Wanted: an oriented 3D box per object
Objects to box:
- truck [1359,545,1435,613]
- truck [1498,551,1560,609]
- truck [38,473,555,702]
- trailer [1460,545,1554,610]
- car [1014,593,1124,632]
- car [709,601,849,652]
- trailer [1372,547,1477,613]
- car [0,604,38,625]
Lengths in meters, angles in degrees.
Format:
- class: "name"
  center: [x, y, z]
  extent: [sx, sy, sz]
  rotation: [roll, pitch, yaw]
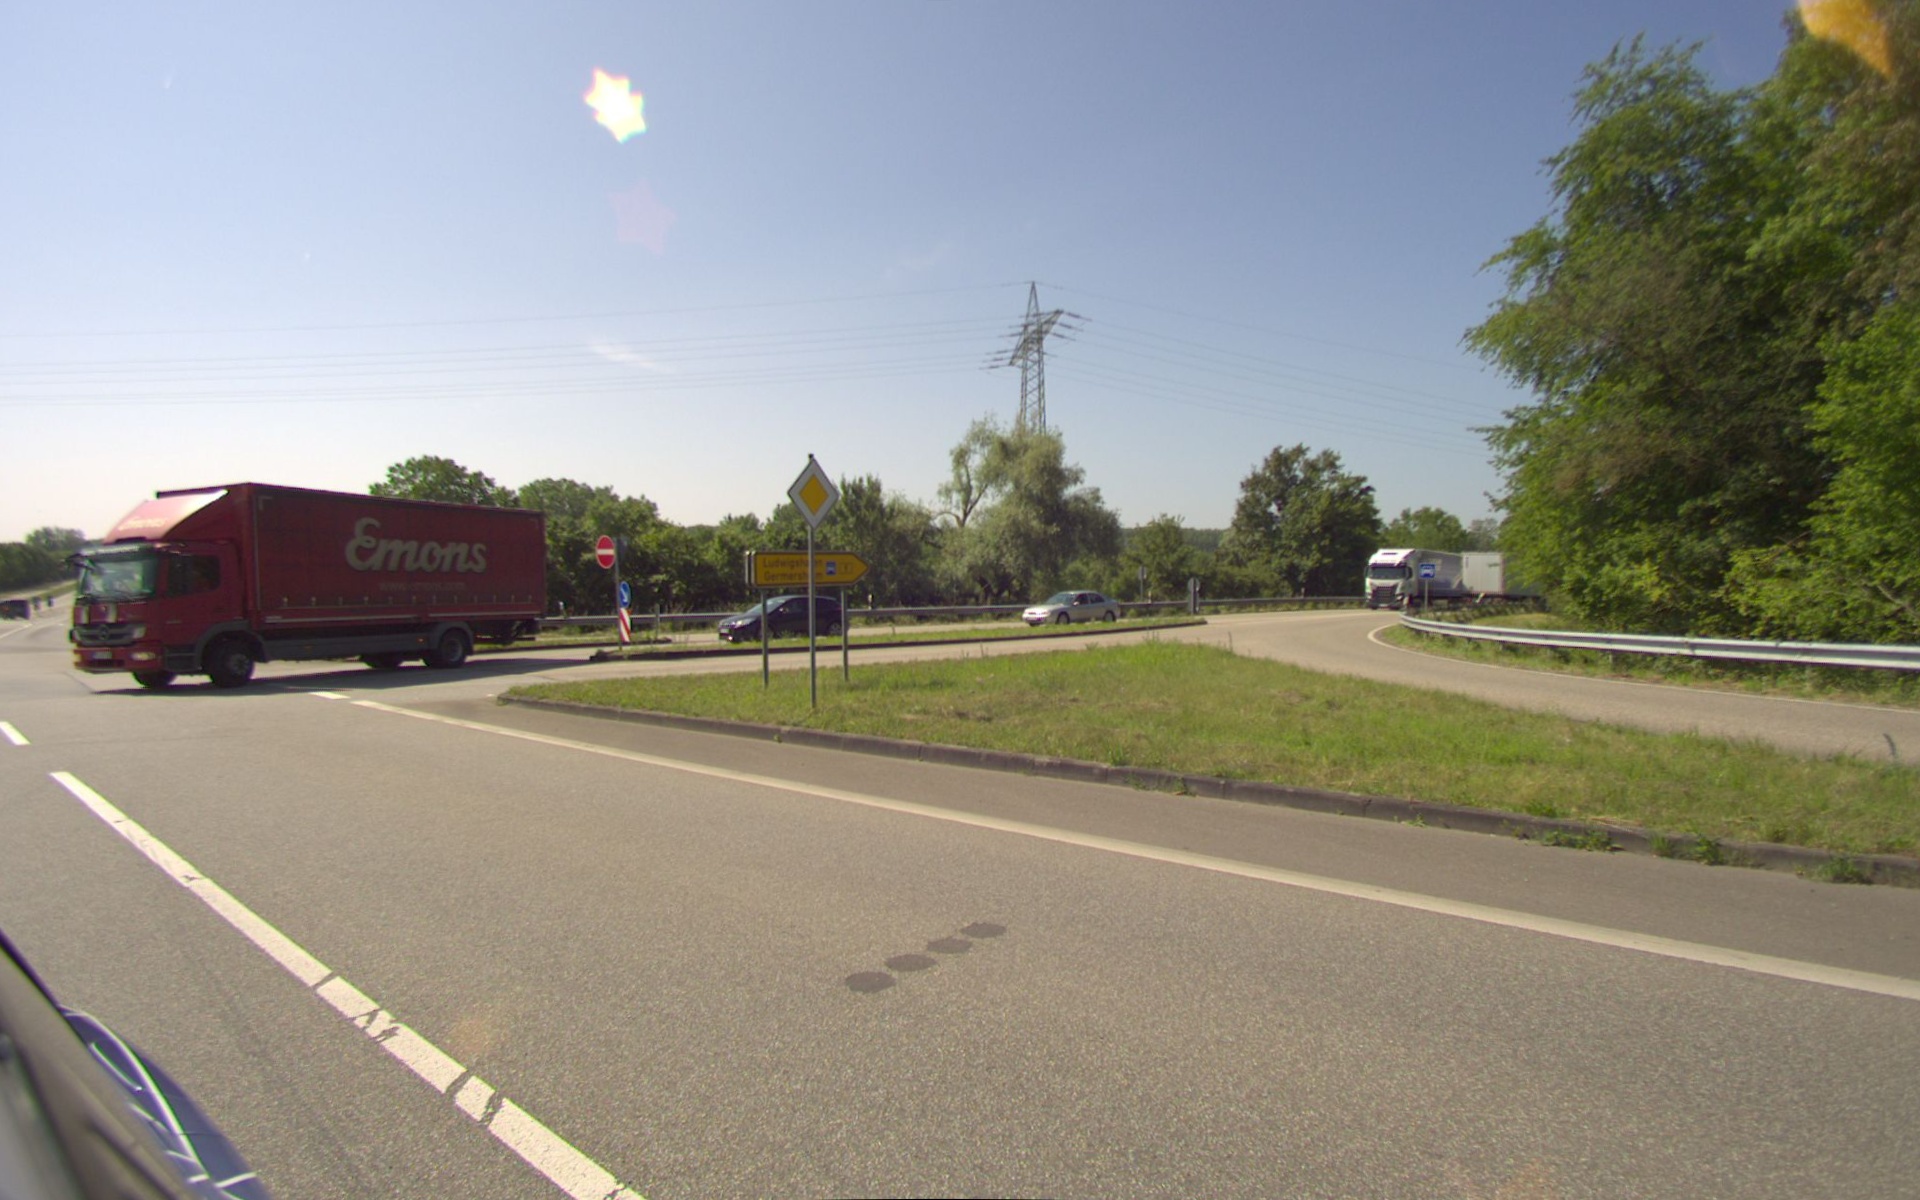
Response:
- class: "truck"
  center: [28.831, -1.358, 66.625]
  extent: [2.940, 4.269, 5.654]
  rotation: [2, 2, 41]
- class: "truck"
  center: [43.051, -1.405, 76.496]
  extent: [2.879, 4.205, 5.888]
  rotation: [-1, -1, 41]
- class: "truck"
  center: [-12.882, -0.219, 21.117]
  extent: [2.672, 3.689, 9.196]
  rotation: [-1, 0, 21]
- class: "trailer"
  center: [39.042, -1.437, 71.879]
  extent: [2.895, 4.197, 13.789]
  rotation: [-1, -1, 41]
- class: "car"
  center: [4.355, 0.470, 40.052]
  extent: [4.308, 1.395, 1.792]
  rotation: [-1, 0, -38]
- class: "car"
  center: [-5.541, 0.763, 31.304]
  extent: [3.940, 1.425, 1.790]
  rotation: [-1, 0, -44]
- class: "trailer"
  center: [32.978, -1.416, 71.424]
  extent: [2.930, 4.271, 13.790]
  rotation: [2, 2, 41]
- class: "car"
  center: [-89.089, 1.403, 95.834]
  extent: [1.967, 1.893, 5.006]
  rotation: [-1, 0, -35]
